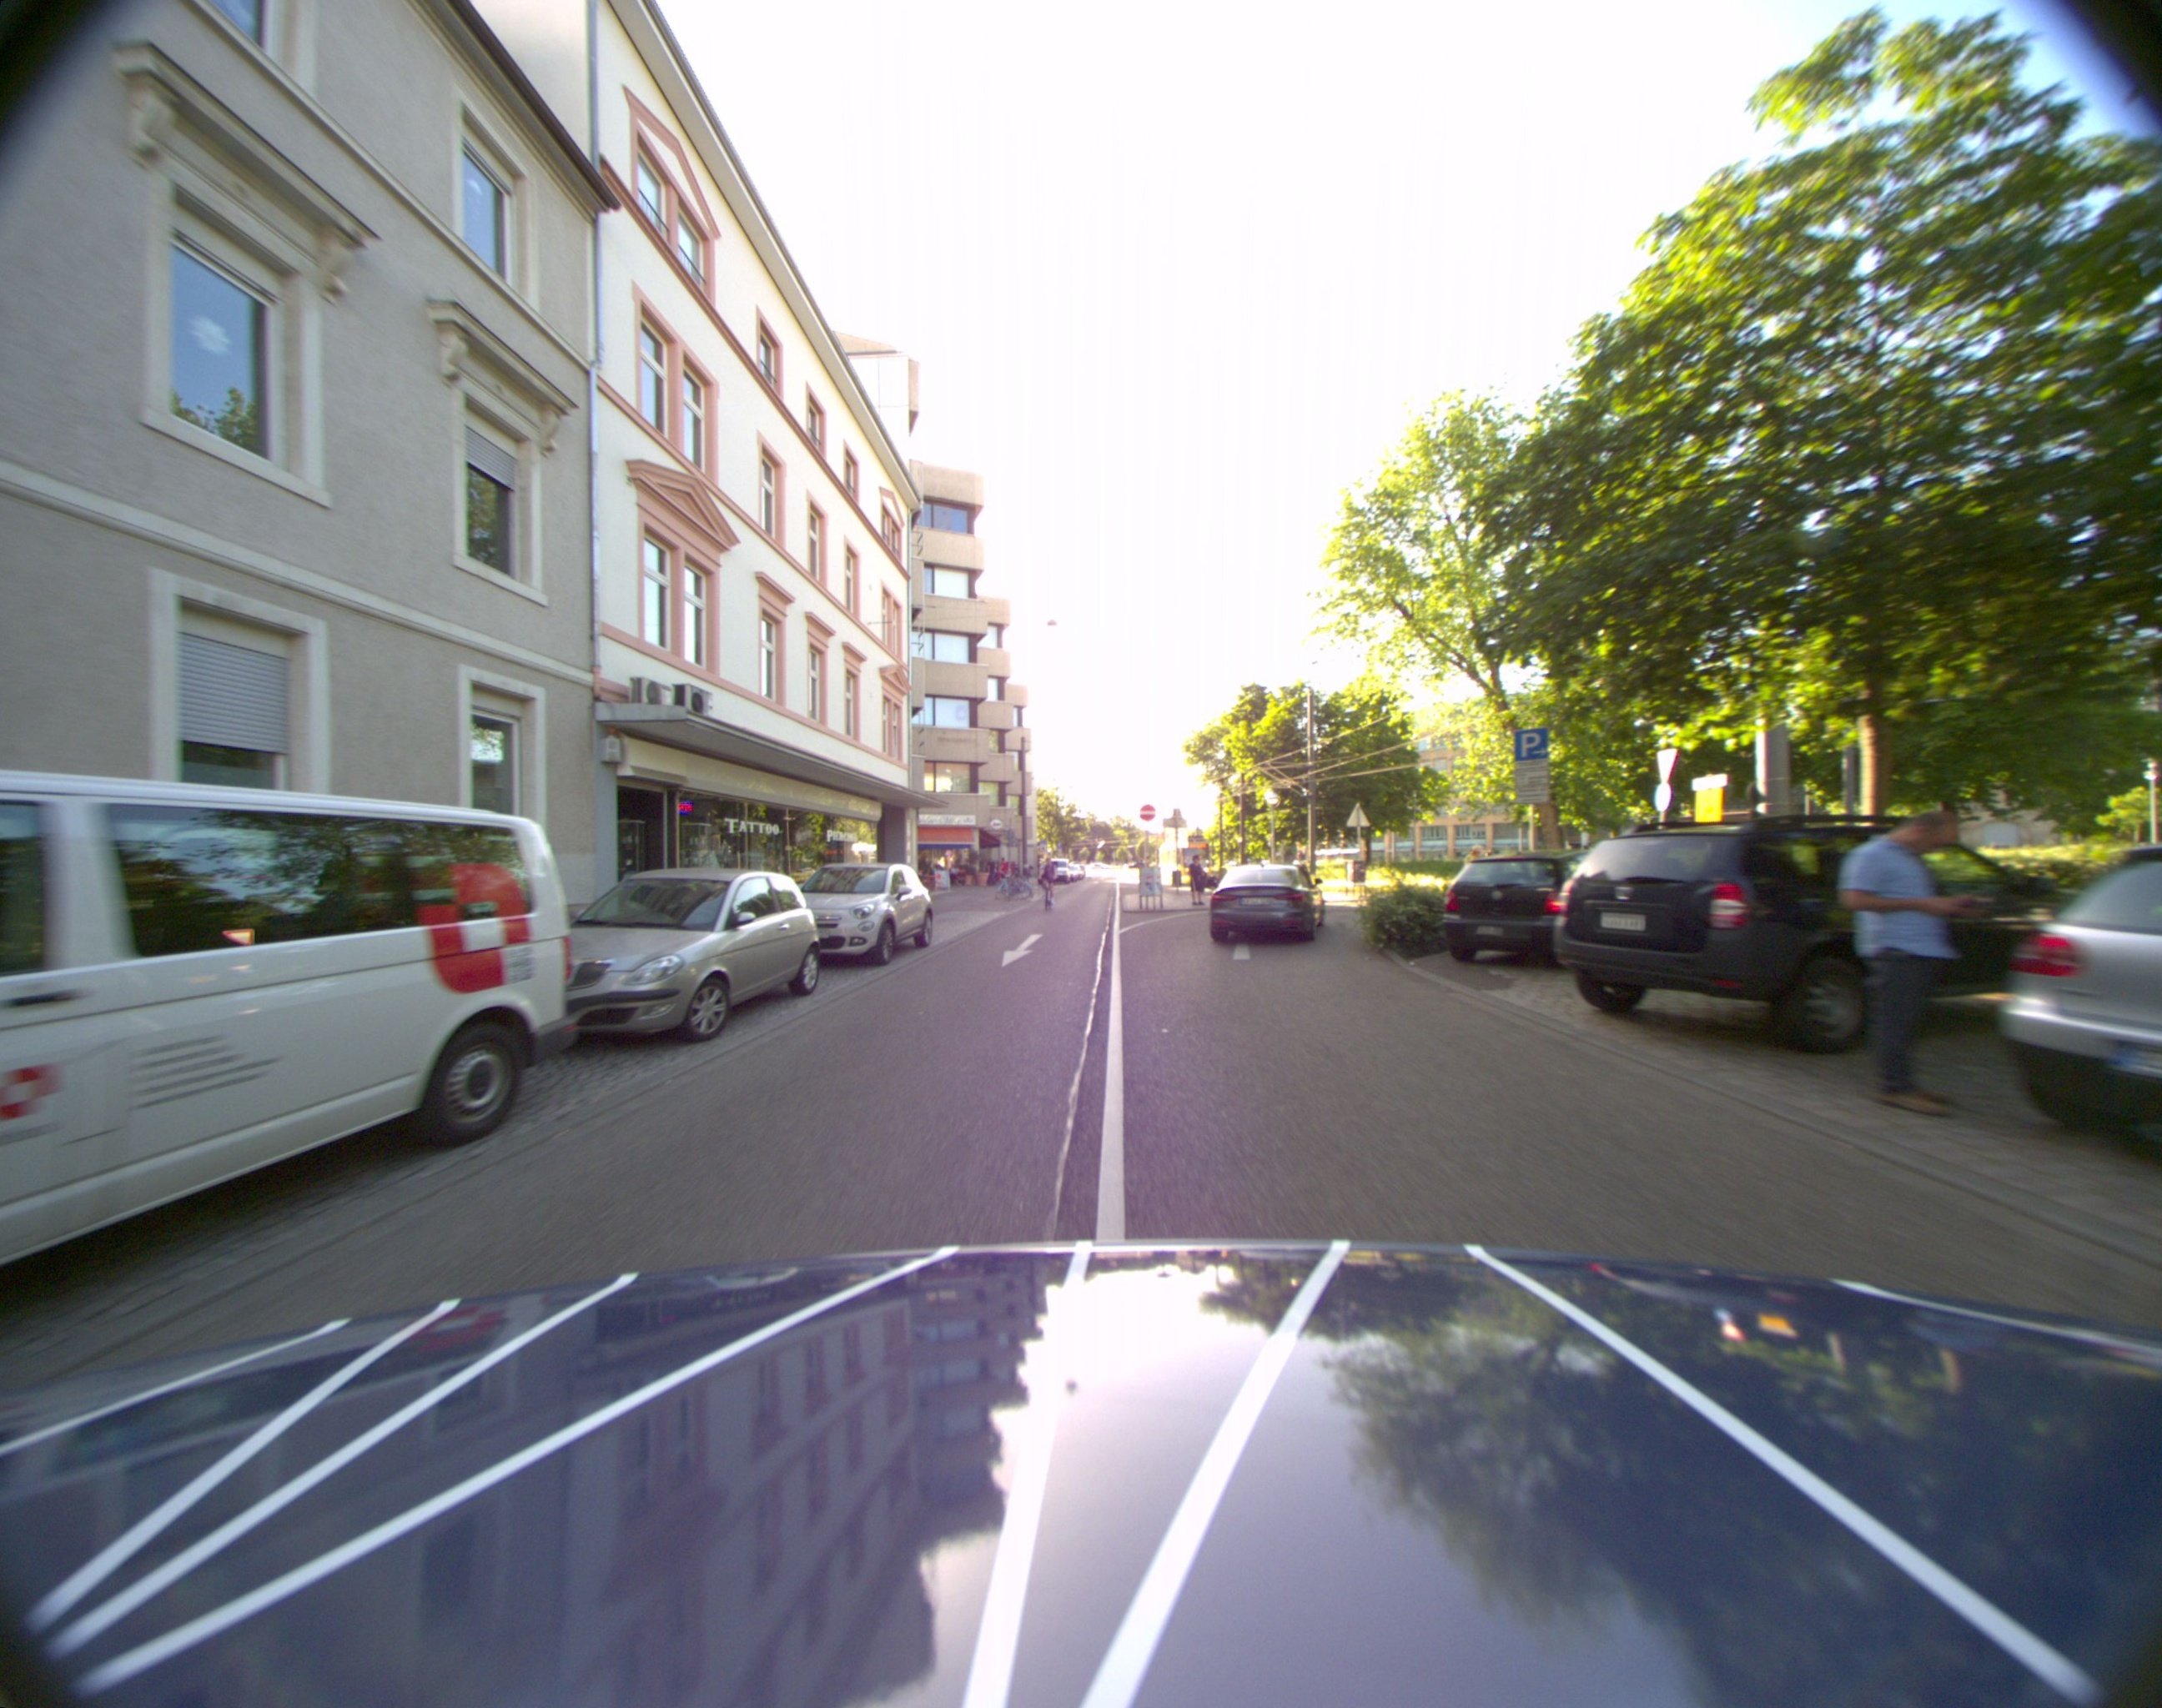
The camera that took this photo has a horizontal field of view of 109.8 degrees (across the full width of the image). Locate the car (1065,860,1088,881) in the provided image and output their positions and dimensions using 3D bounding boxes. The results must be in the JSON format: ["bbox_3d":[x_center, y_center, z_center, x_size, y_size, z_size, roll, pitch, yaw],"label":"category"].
[{"bbox_3d":[-0.343,1.486,69.662,1.855,1.679,3.867,-2,1,2],"label":"car"}]

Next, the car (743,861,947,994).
[{"bbox_3d":[-3.778,1.063,13.228,1.749,1.728,4.960,-2,1,3],"label":"car"}]

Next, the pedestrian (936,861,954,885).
[{"bbox_3d":[-8.168,1.124,45.569,0.845,1.394,0.830,-1,-1,-22],"label":"pedestrian"}]

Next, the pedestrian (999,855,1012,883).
[{"bbox_3d":[-4.727,0.931,47.553,0.585,1.704,0.698,-2,1,6],"label":"pedestrian"}]

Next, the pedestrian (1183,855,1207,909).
[{"bbox_3d":[3.613,0.886,24.078,0.637,1.662,0.693,-2,1,3],"label":"pedestrian"}]

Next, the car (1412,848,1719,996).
[{"bbox_3d":[6.501,0.745,10.114,4.006,1.461,1.870,-3,1,-32],"label":"car"}]

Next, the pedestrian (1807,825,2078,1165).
[{"bbox_3d":[4.552,0.691,4.057,0.701,1.640,0.646,-2,1,-4],"label":"pedestrian"}]

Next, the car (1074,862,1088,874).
[{"bbox_3d":[0.006,1.798,99.082,1.770,1.429,4.584,0,-1,1],"label":"car"}]

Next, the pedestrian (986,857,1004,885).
[{"bbox_3d":[-5.278,1.044,46.643,0.845,1.700,0.718,1,0,-25],"label":"pedestrian"}]

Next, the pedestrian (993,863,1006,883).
[{"bbox_3d":[-5.187,1.180,48.386,0.631,1.229,0.625,1,1,6],"label":"pedestrian"}]

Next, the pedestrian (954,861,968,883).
[{"bbox_3d":[-7.241,1.099,45.755,0.844,1.284,0.830,0,1,-9],"label":"pedestrian"}]

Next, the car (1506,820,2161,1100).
[{"bbox_3d":[6.000,0.672,6.275,4.001,1.658,1.998,-3,0,-13],"label":"car"}]

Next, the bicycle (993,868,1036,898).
[{"bbox_3d":[-2.854,1.253,32.604,1.623,1.236,0.660,-2,1,23],"label":"bicycle"}]

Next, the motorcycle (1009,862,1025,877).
[{"bbox_3d":[-5.182,1.253,61.613,0.765,1.148,2.049,1,1,12],"label":"motorcycle"}]

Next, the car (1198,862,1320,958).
[{"bbox_3d":[3.553,0.963,14.840,1.914,1.408,4.815,-2,1,15],"label":"car"}]

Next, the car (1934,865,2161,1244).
[{"bbox_3d":[6.293,0.755,3.084,3.999,1.440,1.802,-2,1,-7],"label":"car"}]

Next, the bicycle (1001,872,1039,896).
[{"bbox_3d":[-2.774,1.365,34.455,1.681,1.056,0.344,-2,1,19],"label":"bicycle"}]

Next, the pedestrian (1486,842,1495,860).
[{"bbox_3d":[39.229,-0.293,72.744,0.553,1.606,0.676,-1,1,41],"label":"pedestrian"}]

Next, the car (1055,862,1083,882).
[{"bbox_3d":[-0.927,1.486,63.119,1.778,1.445,4.732,-2,1,5],"label":"car"}]

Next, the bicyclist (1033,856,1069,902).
[{"bbox_3d":[-1.015,0.833,25.704,1.040,1.475,0.988,-2,1,4],"label":"bicyclist"}]

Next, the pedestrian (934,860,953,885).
[{"bbox_3d":[-8.067,1.074,44.588,0.845,1.394,0.751,-3,0,-27],"label":"pedestrian"}]

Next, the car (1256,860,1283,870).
[{"bbox_3d":[33.312,2.000,134.467,2.109,1.724,5.076,-1,0,-23],"label":"car"}]

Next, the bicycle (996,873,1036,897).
[{"bbox_3d":[-2.908,1.388,34.095,1.705,0.998,0.428,-2,1,19],"label":"bicycle"}]

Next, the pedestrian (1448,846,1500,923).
[{"bbox_3d":[8.982,0.689,17.365,0.671,1.689,0.803,-3,1,-39],"label":"pedestrian"}]

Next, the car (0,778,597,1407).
[{"bbox_3d":[-4.427,0.775,2.718,1.998,1.993,5.118,-1,0,1],"label":"car"}]

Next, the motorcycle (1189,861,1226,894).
[{"bbox_3d":[5.385,0.984,32.411,0.749,1.366,1.758,-3,1,-21],"label":"motorcycle"}]

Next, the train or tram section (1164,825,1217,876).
[{"bbox_3d":[8.769,-0.161,62.592,2.956,3.663,13.187,-2,-1,2],"label":"train or tram section"}]

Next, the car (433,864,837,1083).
[{"bbox_3d":[-4.071,0.959,7.771,1.703,1.595,3.757,-1,1,3],"label":"car"}]

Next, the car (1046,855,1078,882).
[{"bbox_3d":[-1.353,1.017,56.233,1.998,1.802,4.309,-2,1,2],"label":"car"}]

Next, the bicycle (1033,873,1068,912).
[{"bbox_3d":[-1.003,1.272,25.610,0.887,1.129,2.229,-2,1,4],"label":"bicycle"}]

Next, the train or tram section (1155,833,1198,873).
[{"bbox_3d":[9.326,-0.037,75.670,2.956,3.591,13.638,-2,-1,2],"label":"train or tram section"}]

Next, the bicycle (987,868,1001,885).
[{"bbox_3d":[-5.768,1.472,50.392,0.564,1.028,1.644,-2,1,3],"label":"bicycle"}]

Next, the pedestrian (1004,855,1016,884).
[{"bbox_3d":[-4.515,0.973,48.332,0.672,1.845,0.610,1,1,6],"label":"pedestrian"}]
